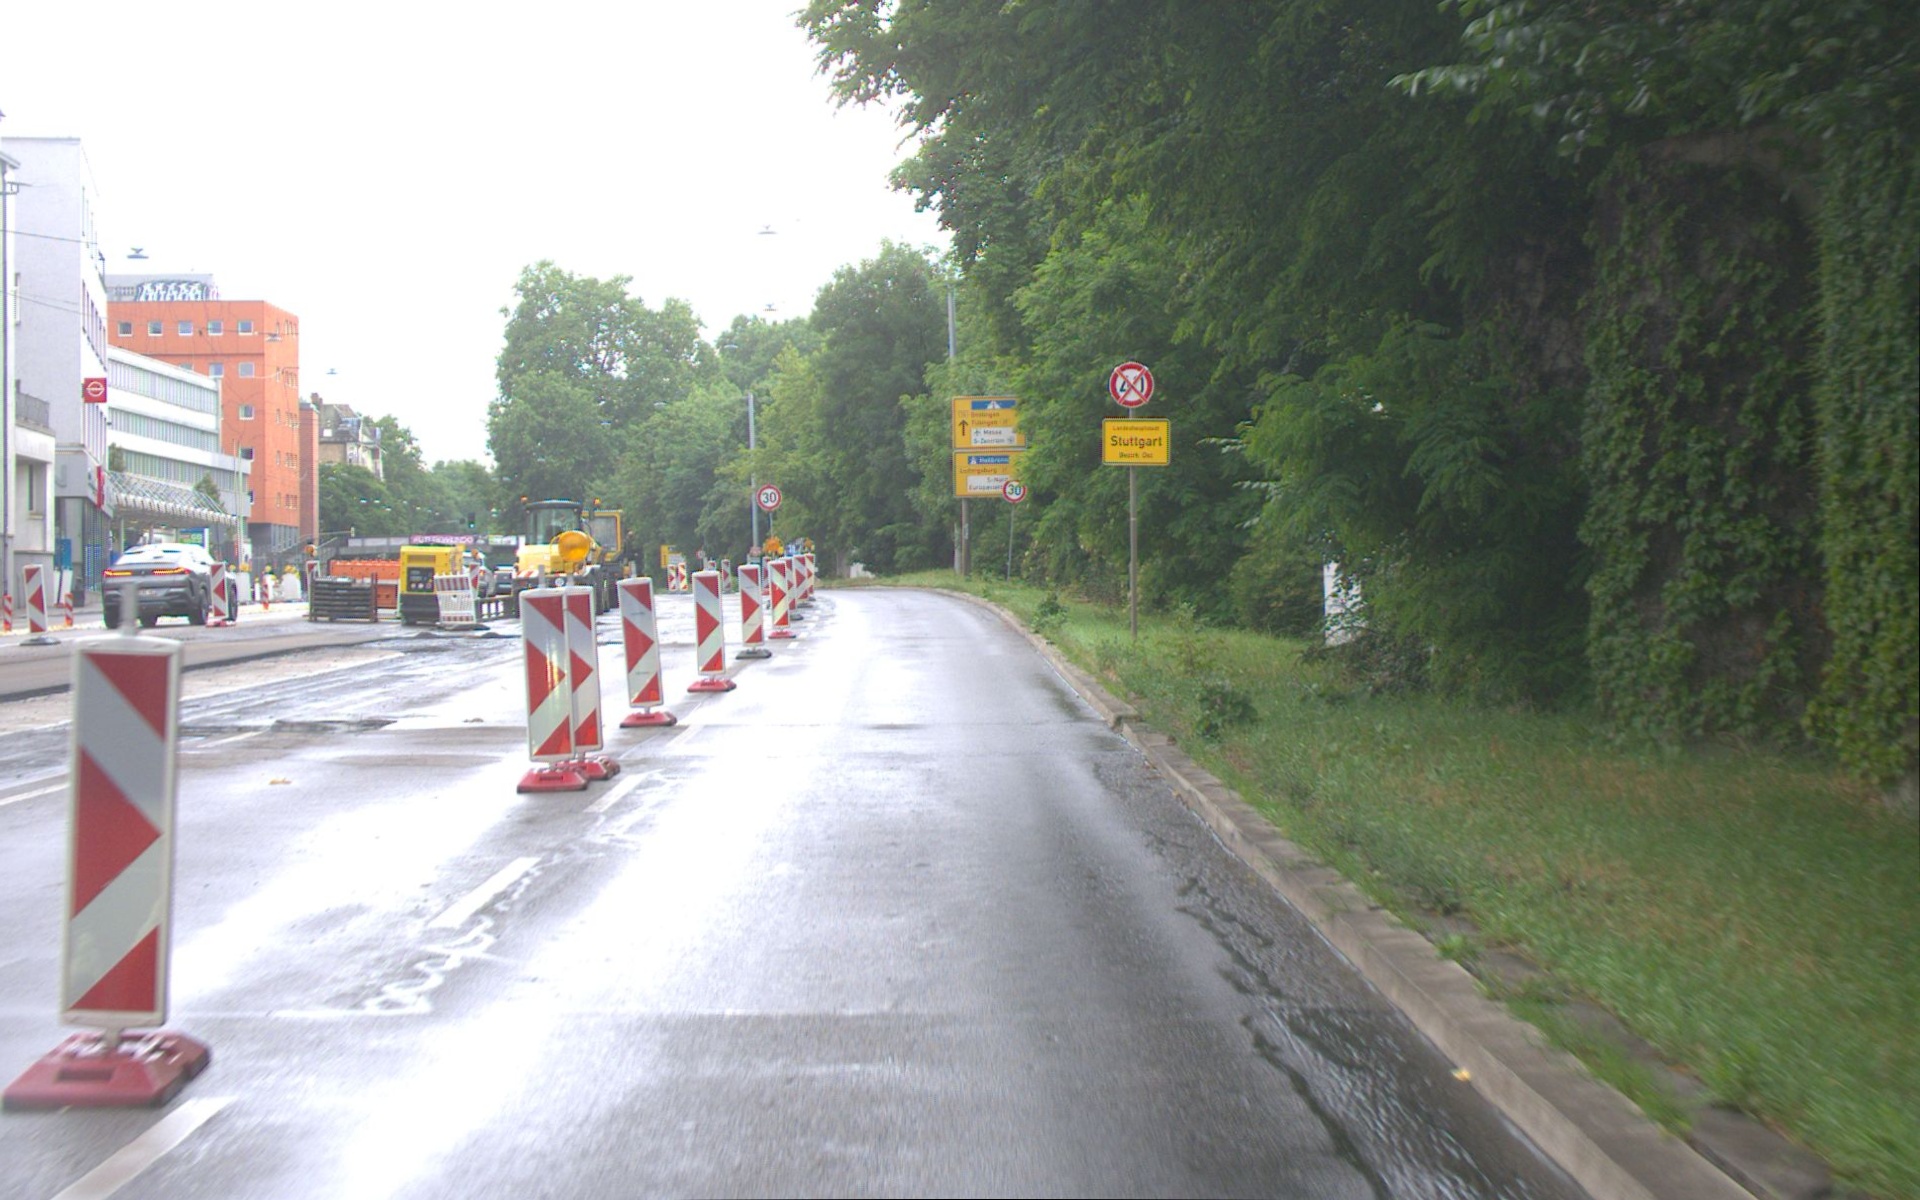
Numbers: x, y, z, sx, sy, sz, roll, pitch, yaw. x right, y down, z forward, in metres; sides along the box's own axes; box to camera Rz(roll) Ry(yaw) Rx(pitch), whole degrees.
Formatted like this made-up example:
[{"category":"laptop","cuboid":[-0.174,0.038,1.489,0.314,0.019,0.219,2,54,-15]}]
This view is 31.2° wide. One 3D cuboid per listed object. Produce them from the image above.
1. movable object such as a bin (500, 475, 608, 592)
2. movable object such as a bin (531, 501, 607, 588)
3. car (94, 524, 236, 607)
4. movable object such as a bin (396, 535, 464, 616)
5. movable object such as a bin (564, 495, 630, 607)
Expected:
[{"category":"movable object such as a bin","cuboid":[-9.397,-1.539,79.957,1.902,2.600,5.383,-1,1,-1]},{"category":"movable object such as a bin","cuboid":[-9.721,-1.397,85.649,1.362,2.083,5.030,-1,1,-1]},{"category":"car","cuboid":[-16.355,-0.709,70.909,1.893,1.644,4.396,0,1,0]},{"category":"movable object such as a bin","cuboid":[-11.009,-0.517,71.519,1.083,1.639,2.439,0,1,-1]},{"category":"movable object such as a bin","cuboid":[-10.055,-1.372,95.377,1.465,2.998,3.725,-3,1,-2]}]
